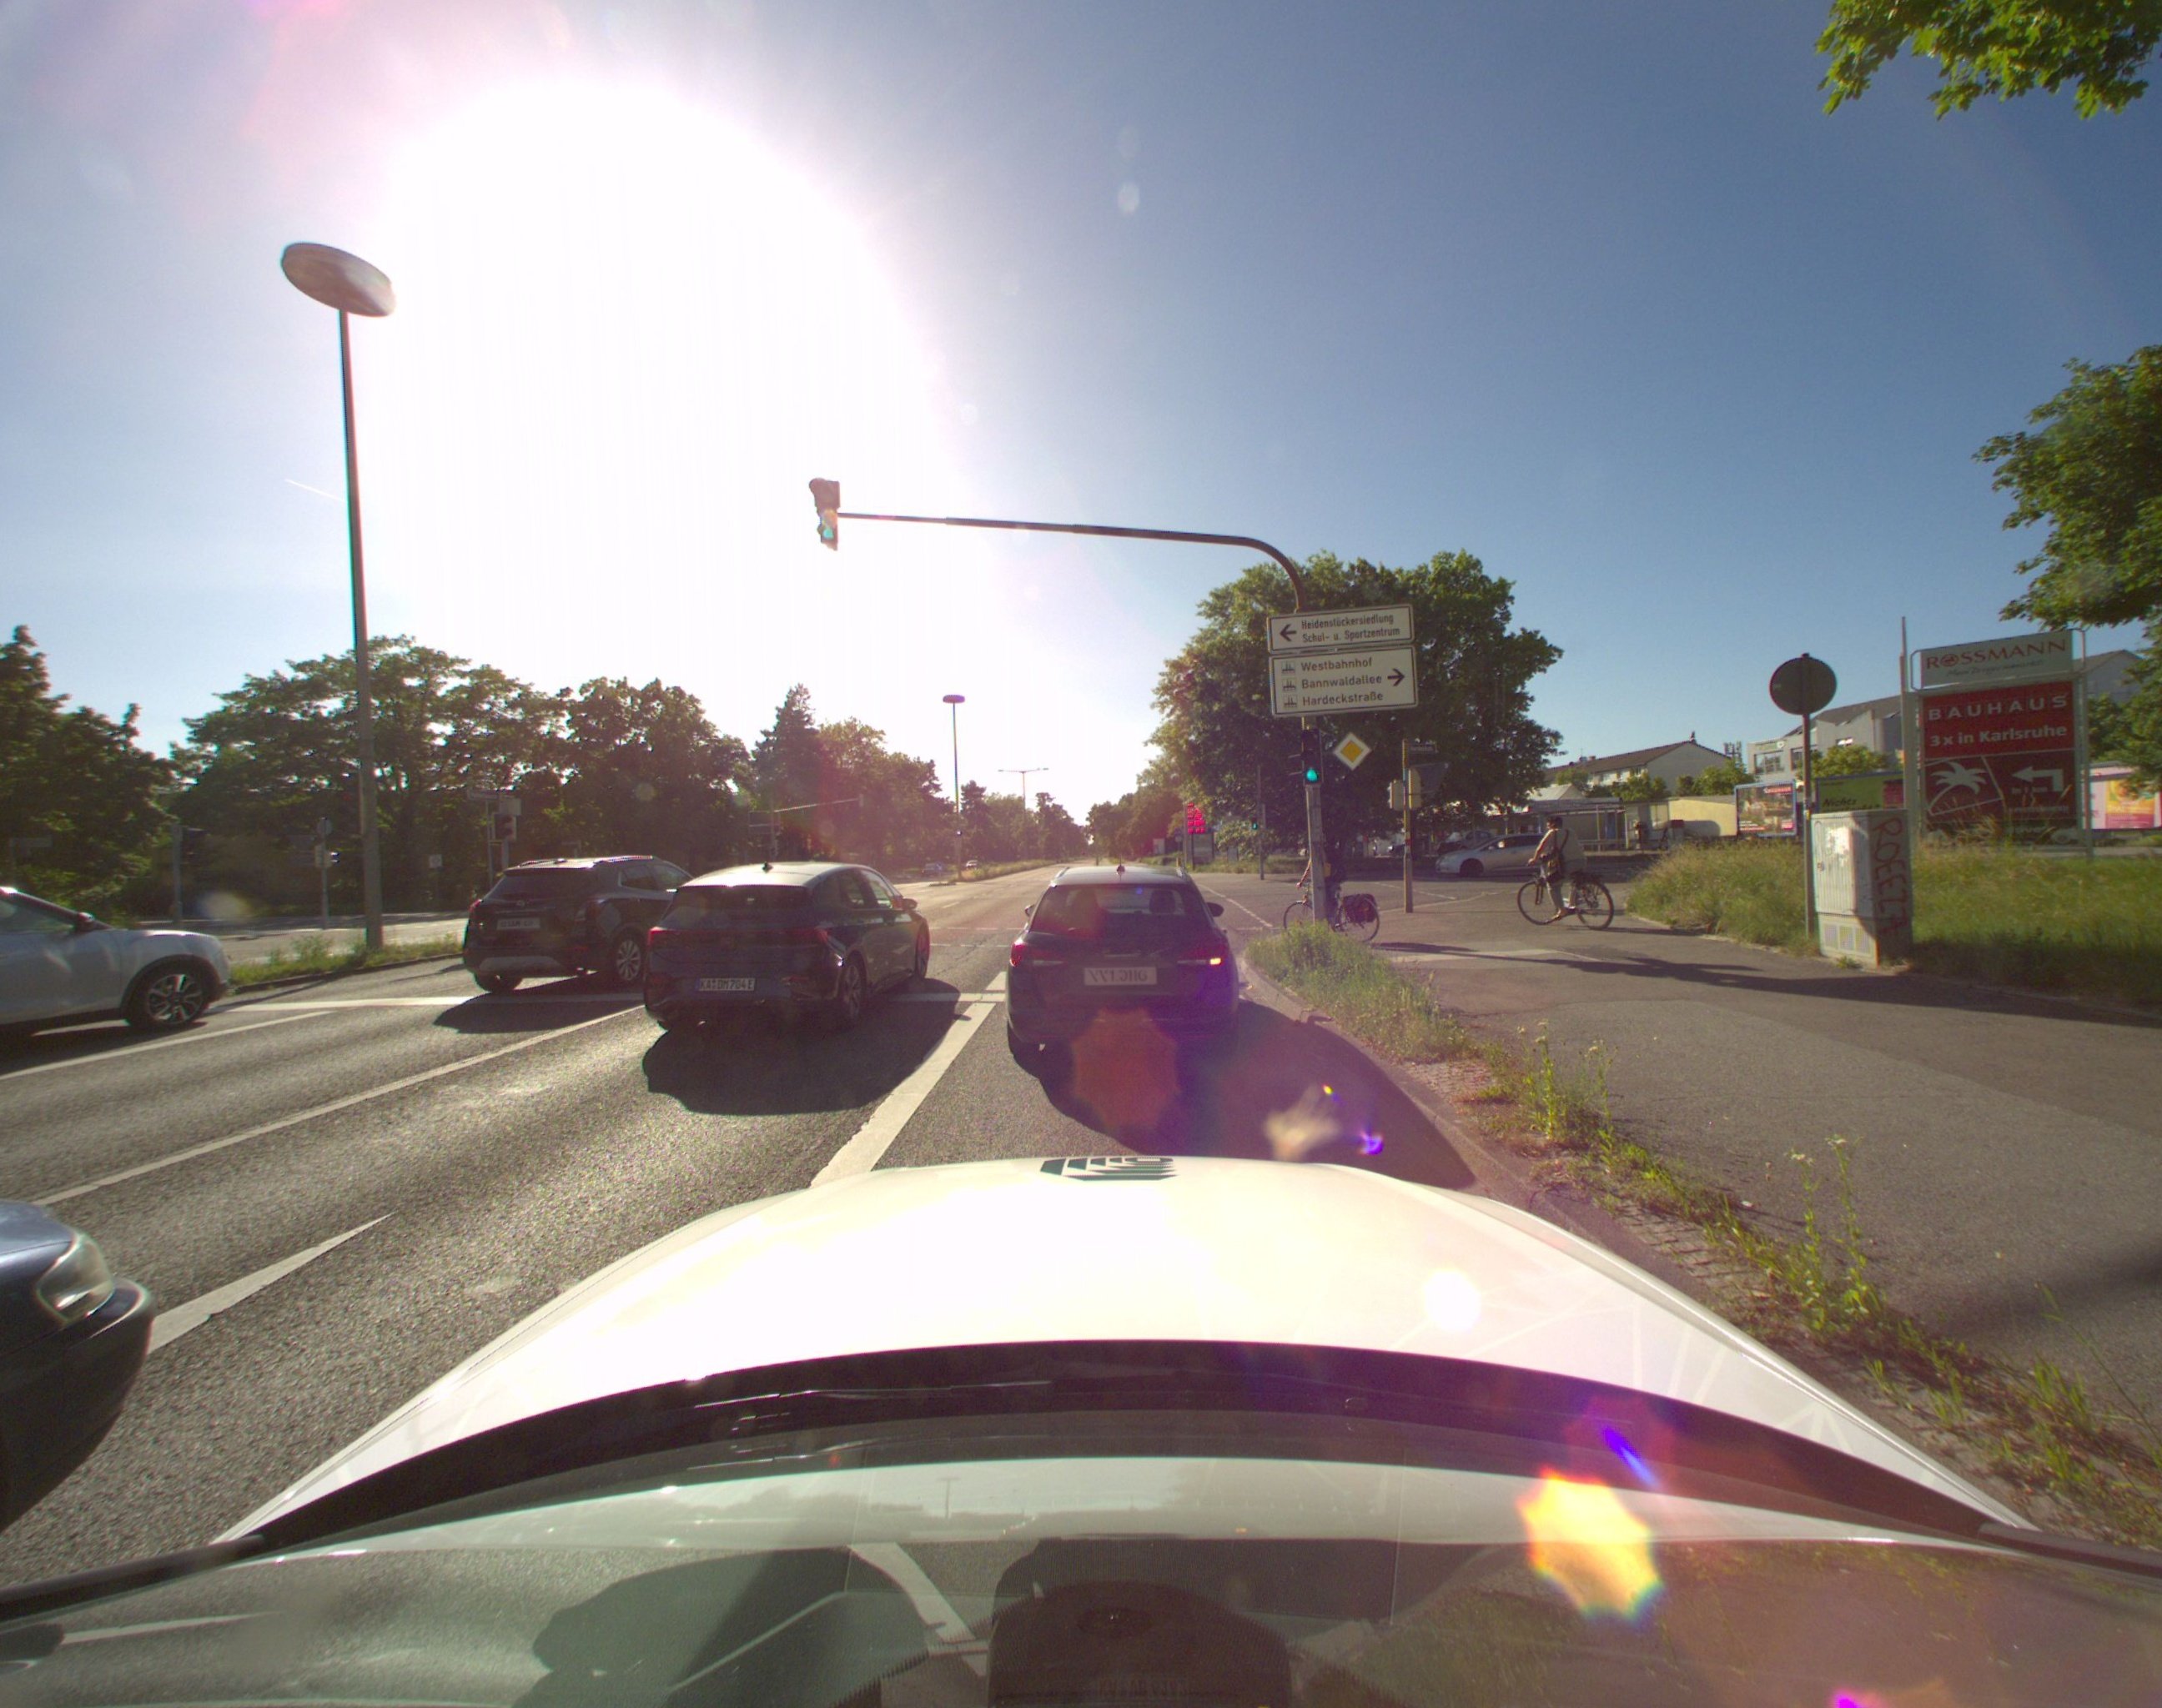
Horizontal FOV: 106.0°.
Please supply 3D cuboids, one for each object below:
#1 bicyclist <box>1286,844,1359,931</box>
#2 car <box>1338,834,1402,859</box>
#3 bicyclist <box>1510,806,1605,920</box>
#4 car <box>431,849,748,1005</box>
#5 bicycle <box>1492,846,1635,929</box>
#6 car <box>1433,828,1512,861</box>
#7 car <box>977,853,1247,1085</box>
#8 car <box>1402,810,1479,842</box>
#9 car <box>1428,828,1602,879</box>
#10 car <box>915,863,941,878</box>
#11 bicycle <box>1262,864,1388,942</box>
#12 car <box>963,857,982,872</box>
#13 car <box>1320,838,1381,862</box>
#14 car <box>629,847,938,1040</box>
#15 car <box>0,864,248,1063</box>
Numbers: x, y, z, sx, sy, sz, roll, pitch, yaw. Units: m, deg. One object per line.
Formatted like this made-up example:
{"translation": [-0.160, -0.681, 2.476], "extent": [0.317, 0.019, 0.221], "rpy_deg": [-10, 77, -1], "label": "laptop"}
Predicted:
{"translation": [3.704, 0.515, 12.520], "extent": [0.540, 1.277, 0.819], "rpy_deg": [-3, -2, -42], "label": "bicyclist"}
{"translation": [19.721, -0.523, 55.556], "extent": [3.903, 1.518, 1.733], "rpy_deg": [-3, 0, -21], "label": "car"}
{"translation": [7.058, 0.143, 12.107], "extent": [0.579, 1.581, 0.993], "rpy_deg": [-4, -2, -12], "label": "bicyclist"}
{"translation": [-6.423, 0.837, 11.283], "extent": [1.798, 1.689, 4.002], "rpy_deg": [-3, 0, 2], "label": "car"}
{"translation": [7.083, 0.493, 12.096], "extent": [0.579, 1.097, 1.979], "rpy_deg": [-4, -2, -12], "label": "bicycle"}
{"translation": [22.421, -0.563, 46.644], "extent": [4.002, 1.680, 1.733], "rpy_deg": [-3, 0, -21], "label": "car"}
{"translation": [0.274, 0.780, 7.459], "extent": [1.750, 1.495, 4.208], "rpy_deg": [-1, -1, 2], "label": "car"}
{"translation": [21.372, -1.632, 48.489], "extent": [4.002, 1.750, 1.985], "rpy_deg": [1, -1, -22], "label": "car"}
{"translation": [14.976, -0.010, 28.421], "extent": [4.969, 1.486, 2.007], "rpy_deg": [-3, 0, 13], "label": "car"}
{"translation": [-16.769, 1.771, 89.422], "extent": [1.986, 1.530, 4.001], "rpy_deg": [-3, 0, 1], "label": "car"}
{"translation": [3.717, 0.762, 12.515], "extent": [0.540, 1.097, 1.755], "rpy_deg": [-3, -2, -41], "label": "bicycle"}
{"translation": [-16.014, 1.502, 120.564], "extent": [1.986, 2.013, 4.001], "rpy_deg": [-3, 0, 1], "label": "car"}
{"translation": [19.392, -0.299, 58.647], "extent": [3.903, 1.518, 1.733], "rpy_deg": [-3, 0, -21], "label": "car"}
{"translation": [-2.855, 0.768, 8.882], "extent": [1.678, 1.580, 4.208], "rpy_deg": [-1, -1, 2], "label": "car"}
{"translation": [-10.249, 0.994, 7.087], "extent": [1.824, 1.702, 3.999], "rpy_deg": [-3, 0, 0], "label": "car"}
